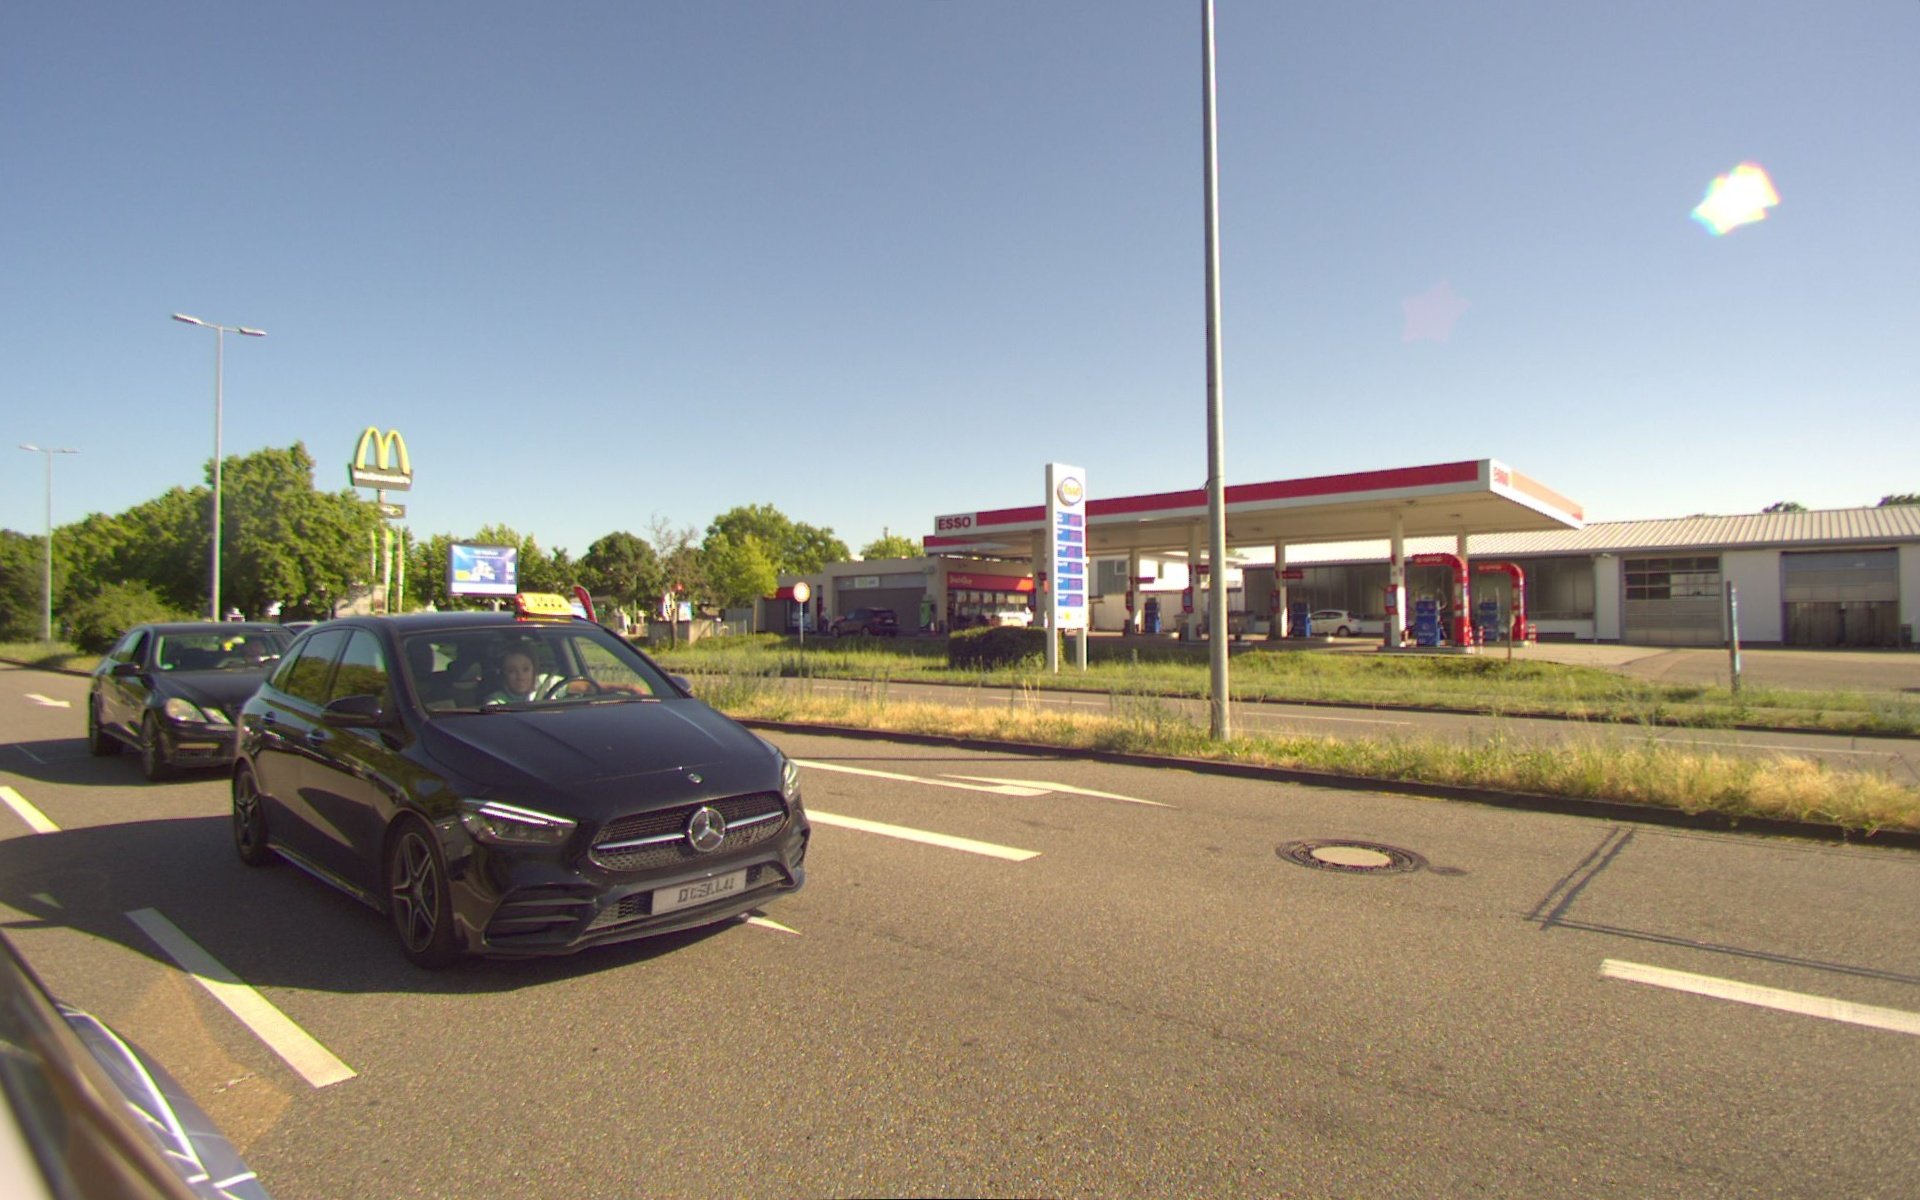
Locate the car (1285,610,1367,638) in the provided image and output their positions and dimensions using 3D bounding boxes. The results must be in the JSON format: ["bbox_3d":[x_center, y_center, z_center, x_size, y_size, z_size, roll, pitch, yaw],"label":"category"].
[{"bbox_3d":[19.840,1.323,54.877,3.844,1.450,1.730,-2,-2,39],"label":"car"}]

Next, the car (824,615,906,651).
[{"bbox_3d":[-4.893,1.684,51.880,4.117,1.783,1.972,-2,-2,43],"label":"car"}]

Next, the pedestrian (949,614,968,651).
[{"bbox_3d":[-0.079,1.799,55.713,0.840,2.029,0.694,-1,-2,41],"label":"pedestrian"}]

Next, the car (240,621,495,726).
[{"bbox_3d":[-9.421,1.071,15.985,4.393,1.440,1.841,-1,-2,35],"label":"car"}]

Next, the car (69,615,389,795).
[{"bbox_3d":[-7.918,0.951,10.807,4.401,1.535,1.838,-2,-2,41],"label":"car"}]

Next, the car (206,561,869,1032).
[{"bbox_3d":[-2.585,0.737,5.612,4.187,1.638,1.780,-2,-2,42],"label":"car"}]
